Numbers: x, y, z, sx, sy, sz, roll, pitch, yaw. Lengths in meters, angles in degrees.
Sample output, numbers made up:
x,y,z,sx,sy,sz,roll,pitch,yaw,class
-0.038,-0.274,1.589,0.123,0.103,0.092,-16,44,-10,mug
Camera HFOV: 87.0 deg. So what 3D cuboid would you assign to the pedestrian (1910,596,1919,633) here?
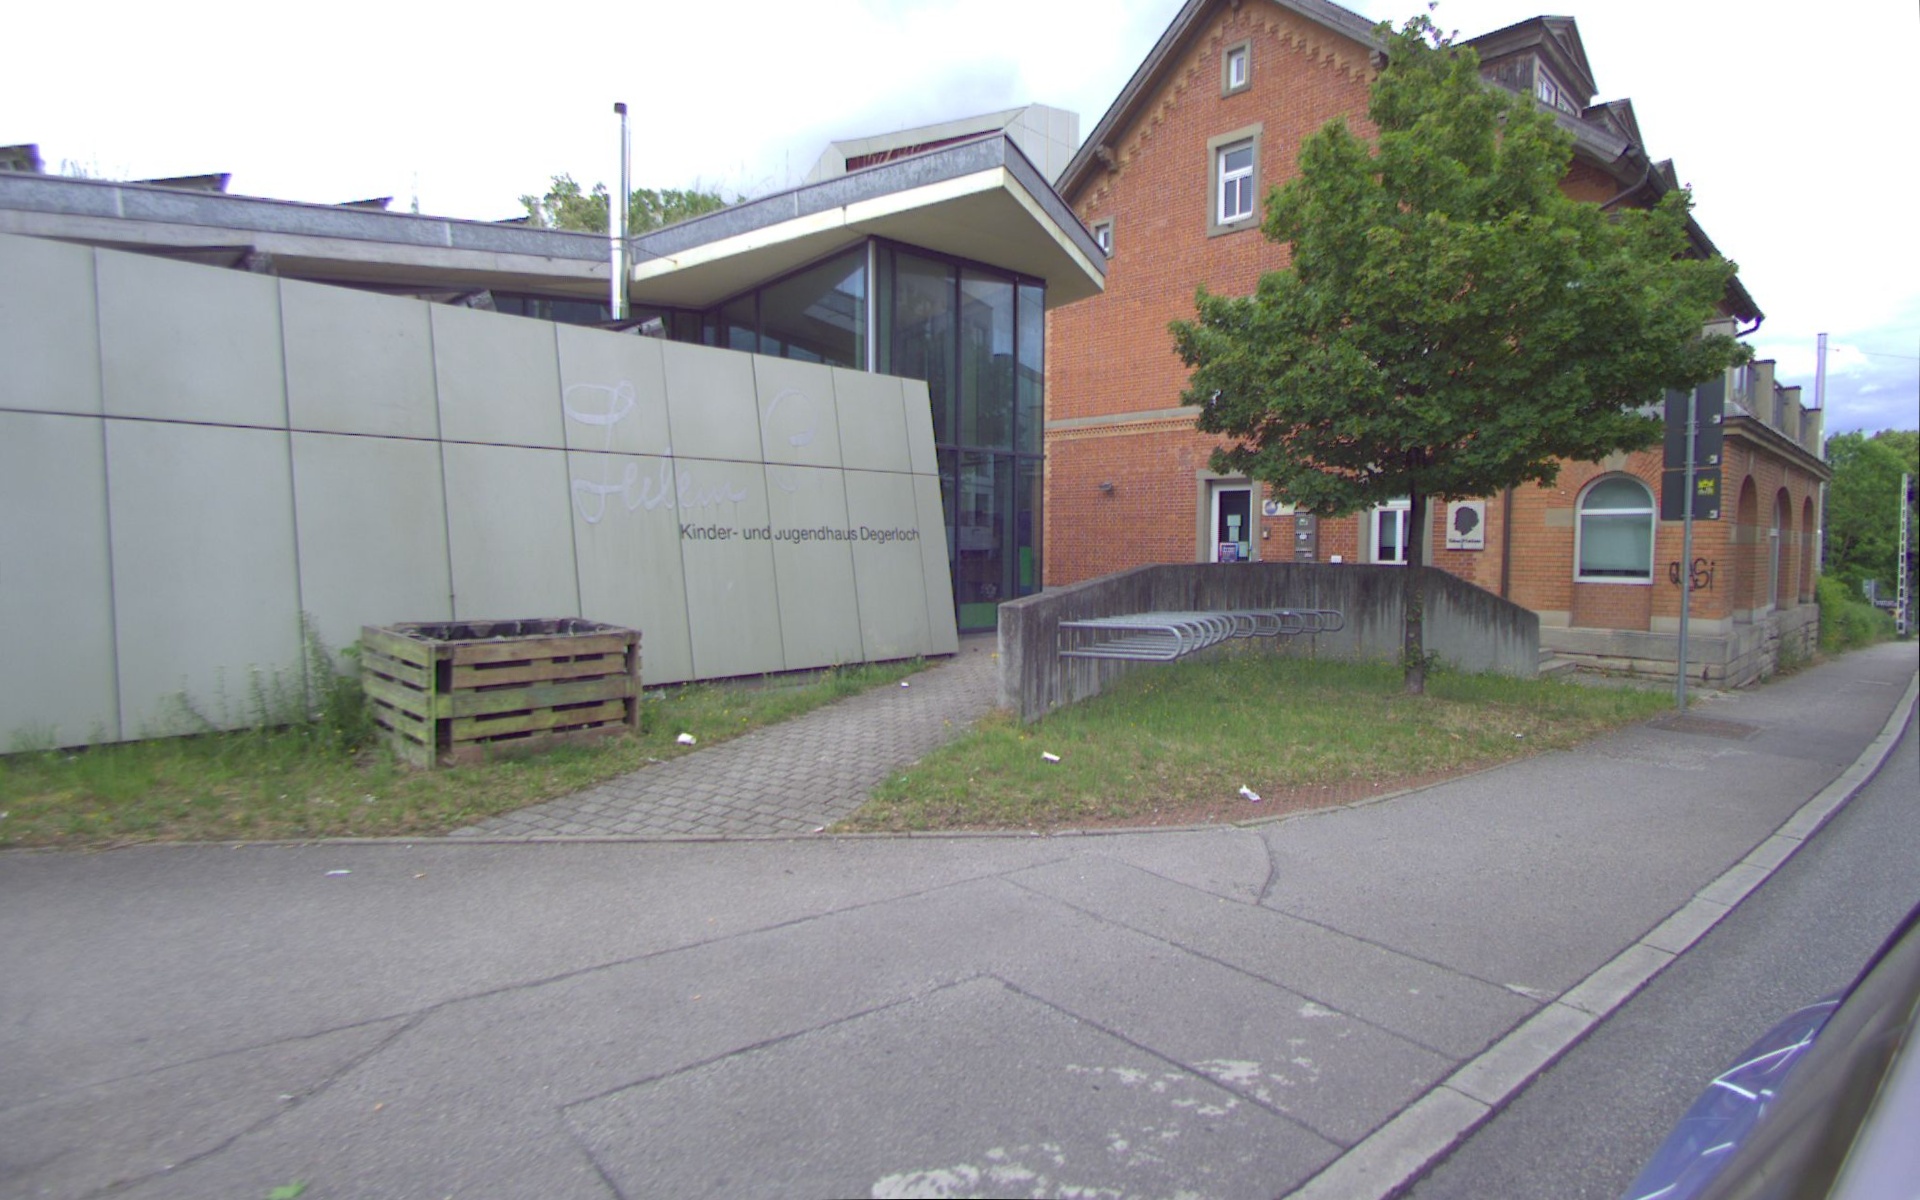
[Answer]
x,y,z,sx,sy,sz,roll,pitch,yaw,class
51.423,0.796,54.038,0.932,1.907,0.814,2,2,-40,pedestrian
